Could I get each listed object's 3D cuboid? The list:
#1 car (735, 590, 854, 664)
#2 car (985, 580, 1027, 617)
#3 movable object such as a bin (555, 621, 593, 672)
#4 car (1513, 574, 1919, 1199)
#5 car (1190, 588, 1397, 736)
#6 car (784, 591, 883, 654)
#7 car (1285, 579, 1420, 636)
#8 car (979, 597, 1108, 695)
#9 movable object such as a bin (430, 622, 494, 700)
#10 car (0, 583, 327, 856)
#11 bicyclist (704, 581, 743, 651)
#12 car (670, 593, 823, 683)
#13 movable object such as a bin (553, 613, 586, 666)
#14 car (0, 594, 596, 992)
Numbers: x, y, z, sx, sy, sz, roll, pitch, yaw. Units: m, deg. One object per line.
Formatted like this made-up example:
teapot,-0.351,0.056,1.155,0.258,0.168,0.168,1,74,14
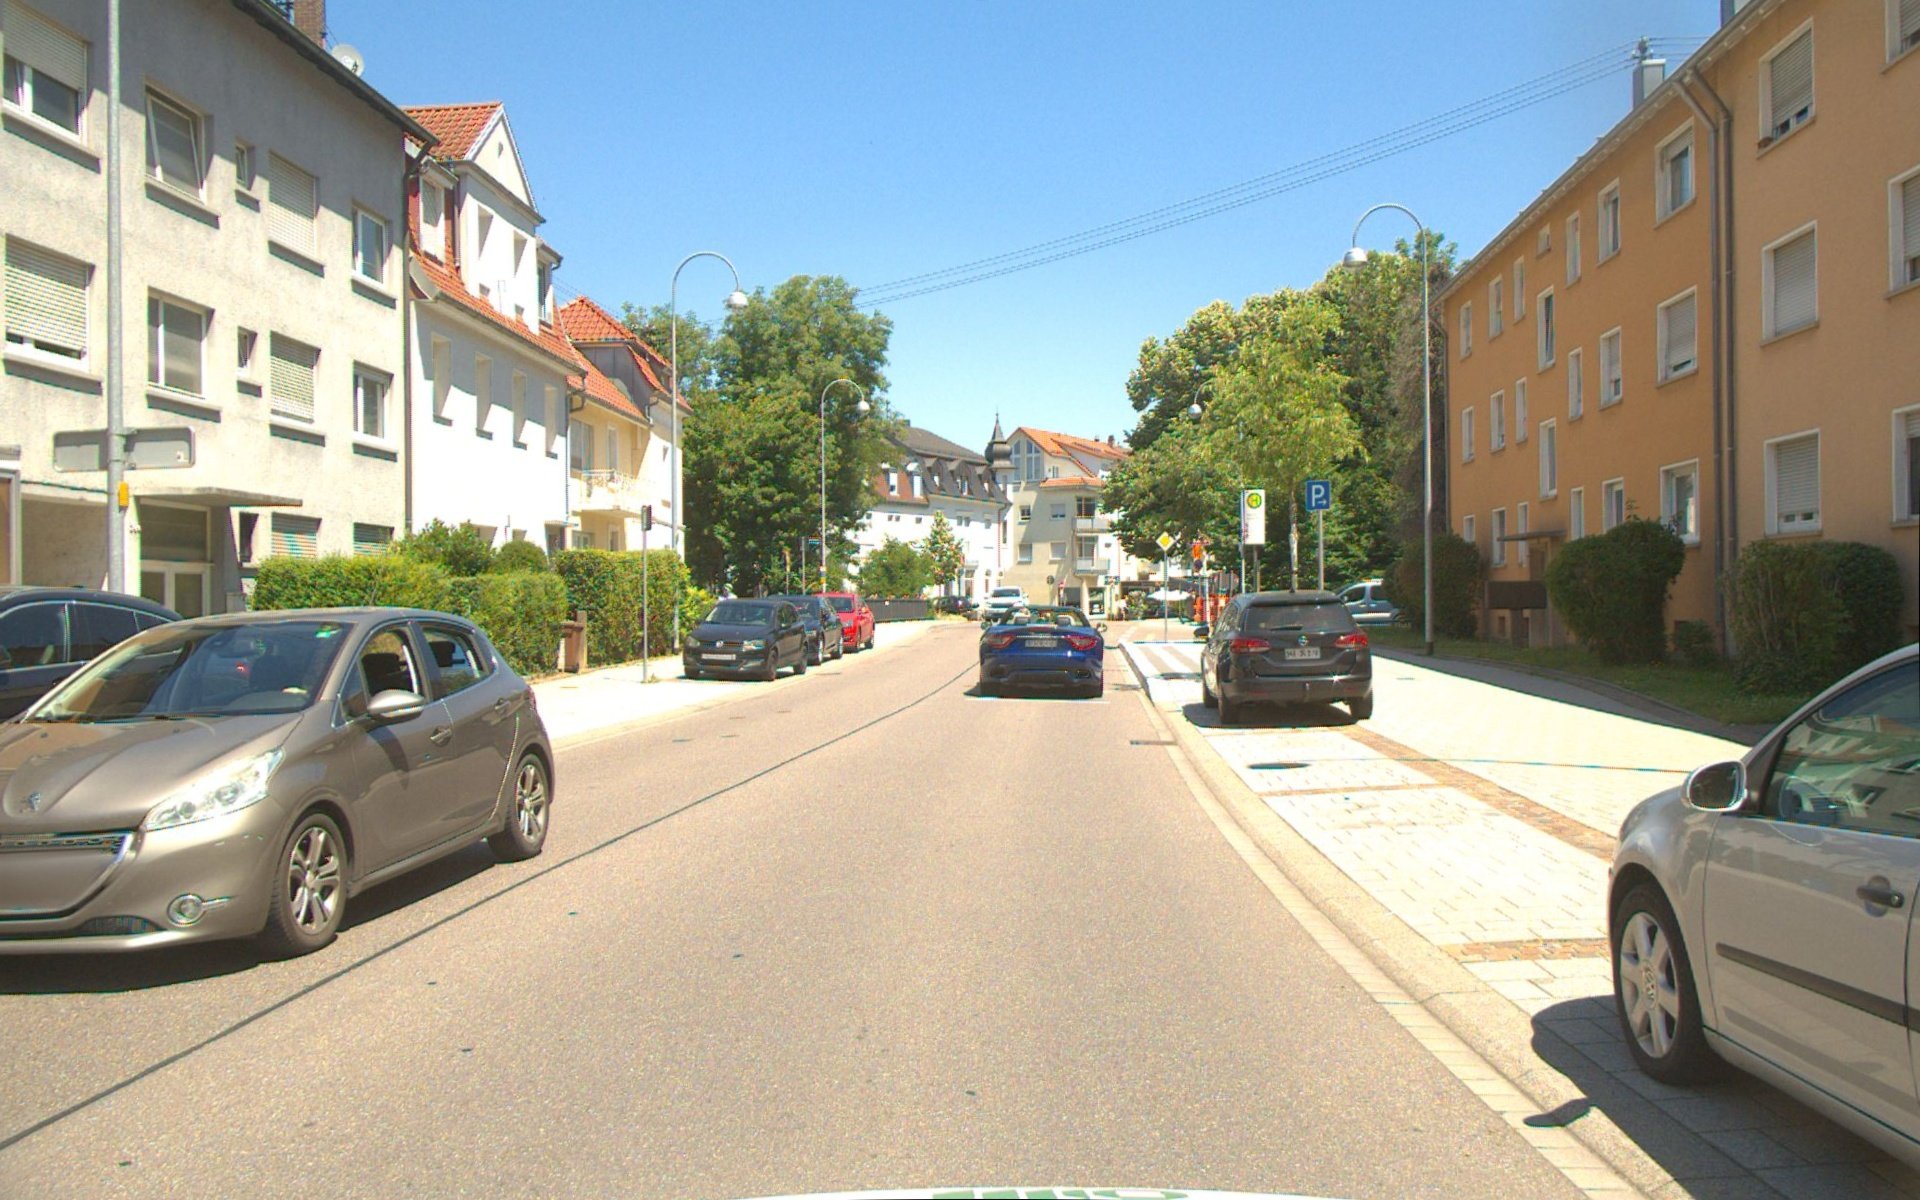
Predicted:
car,-3.675,0.553,37.632,1.824,1.487,5.310,1,1,4
car,2.180,-0.057,77.413,1.838,1.625,4.361,-2,0,3
movable object such as a bin,-7.164,0.857,30.674,0.484,0.927,0.706,-1,0,4
car,2.988,0.674,3.996,1.776,1.502,4.506,-2,-1,0
car,3.966,0.657,20.464,1.795,1.530,5.066,-2,0,4
car,-3.256,0.547,43.542,1.838,1.505,4.740,2,0,4
car,13.621,0.251,57.486,4.252,1.871,1.749,1,-1,-4
car,1.367,0.671,26.012,1.831,1.366,4.598,1,0,4
movable object such as a bin,-7.119,0.864,23.666,0.659,1.066,0.652,-1,0,4
car,-6.674,0.718,11.055,2.041,1.643,5.113,1,1,13
bicyclist,-5.739,0.388,40.148,0.766,1.688,0.835,-1,0,2
car,-3.929,0.658,31.199,1.750,1.484,4.201,2,1,8
movable object such as a bin,-7.605,0.770,32.215,0.457,1.007,0.614,-1,0,4
car,-3.320,0.739,8.248,1.694,1.436,4.003,-2,0,6
